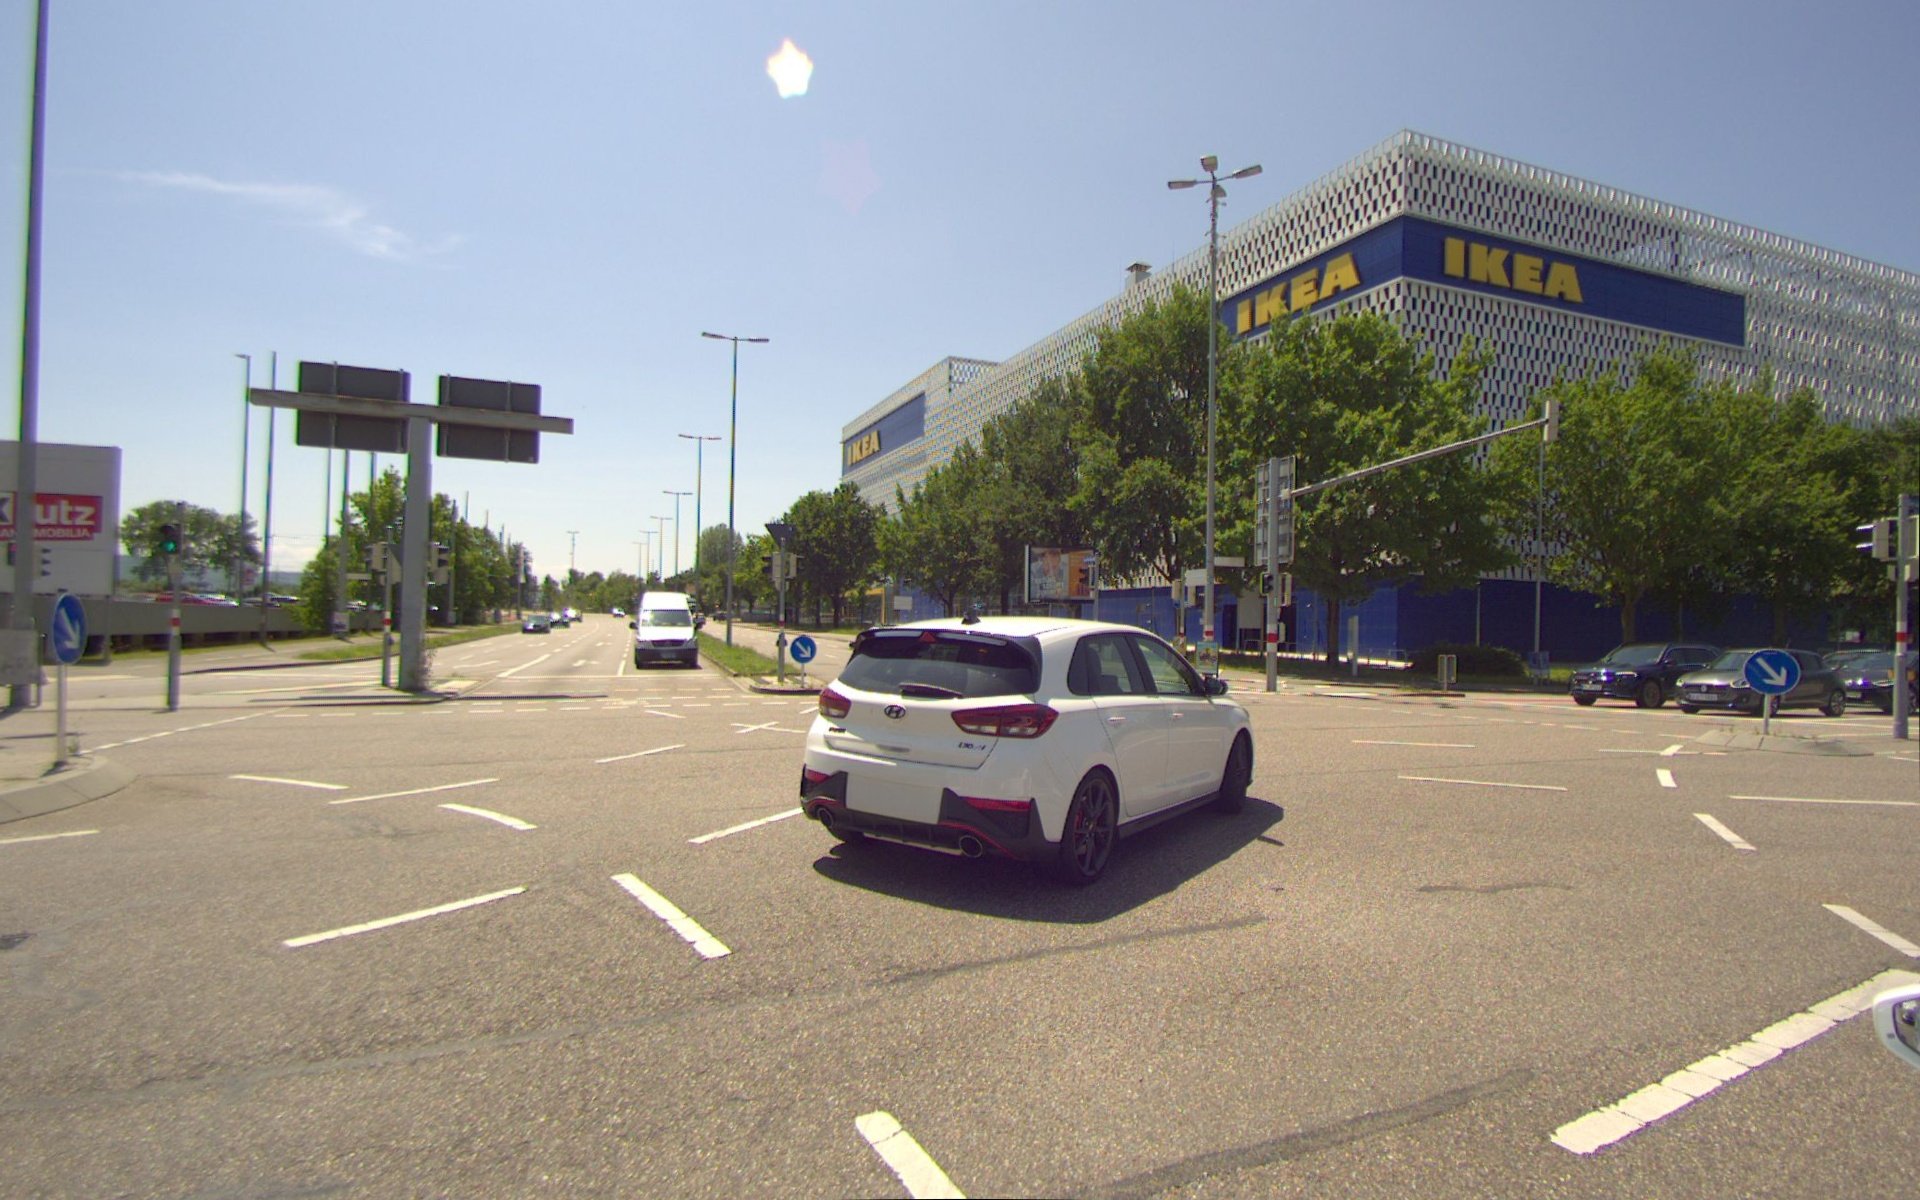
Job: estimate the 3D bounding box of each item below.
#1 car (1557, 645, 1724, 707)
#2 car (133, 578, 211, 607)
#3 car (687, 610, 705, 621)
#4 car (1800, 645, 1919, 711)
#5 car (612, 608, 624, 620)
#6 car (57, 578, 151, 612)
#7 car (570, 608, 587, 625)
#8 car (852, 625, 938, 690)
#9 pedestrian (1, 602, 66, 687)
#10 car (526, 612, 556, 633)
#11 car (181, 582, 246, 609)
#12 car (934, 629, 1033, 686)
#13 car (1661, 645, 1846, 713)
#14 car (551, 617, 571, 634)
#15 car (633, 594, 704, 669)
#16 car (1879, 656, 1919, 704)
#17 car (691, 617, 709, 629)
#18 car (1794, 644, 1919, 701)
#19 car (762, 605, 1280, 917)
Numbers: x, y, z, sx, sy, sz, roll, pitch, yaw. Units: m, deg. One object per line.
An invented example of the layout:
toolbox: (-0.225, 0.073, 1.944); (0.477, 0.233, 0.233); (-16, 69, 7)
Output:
car: (17.289, 1.929, 25.521); (3.981, 1.442, 1.657); (3, -2, -23)
car: (-60.860, -0.522, 77.681); (4.267, 2.040, 1.990); (2, -1, -22)
car: (-37.219, 2.163, 141.725); (1.971, 1.572, 3.980); (2, -1, -21)
car: (22.988, 1.928, 24.764); (4.182, 1.525, 1.724); (2, -3, -22)
car: (-57.269, 2.388, 168.200); (1.789, 2.040, 3.981); (1, -1, -21)
car: (-57.140, -0.305, 67.162); (4.267, 2.040, 1.990); (2, -1, -22)
car: (-52.267, 2.234, 137.739); (1.969, 2.041, 3.983); (1, 1, -18)
car: (-1.642, 1.322, 24.119); (1.667, 1.441, 4.003); (0, -2, -10)
pedestrian: (-20.164, 0.966, 21.883); (0.814, 1.807, 0.602); (1, -1, -20)
car: (-31.492, 1.671, 75.559); (1.832, 1.528, 3.981); (2, -1, -20)
car: (-62.372, -0.358, 83.979); (3.942, 2.040, 1.990); (2, -1, -22)
car: (0.576, 1.650, 28.509); (1.772, 1.459, 4.548); (2, -4, -12)
car: (17.612, 1.744, 22.299); (3.662, 1.407, 1.641); (2, -3, -22)
car: (-41.939, 2.673, 105.552); (1.869, 1.652, 3.812); (1, -1, -22)
car: (-9.327, 0.975, 32.039); (1.968, 2.212, 5.030); (1, -1, -17)
car: (31.546, 2.538, 31.942); (4.558, 1.441, 1.742); (2, -3, -24)
car: (-34.833, 3.023, 134.548); (1.970, 1.572, 3.982); (2, -1, -20)
car: (26.980, 2.160, 29.928); (3.860, 1.564, 1.723); (3, -2, -23)
car: (0.726, 0.806, 6.991); (1.763, 1.455, 4.058); (2, 0, 34)
